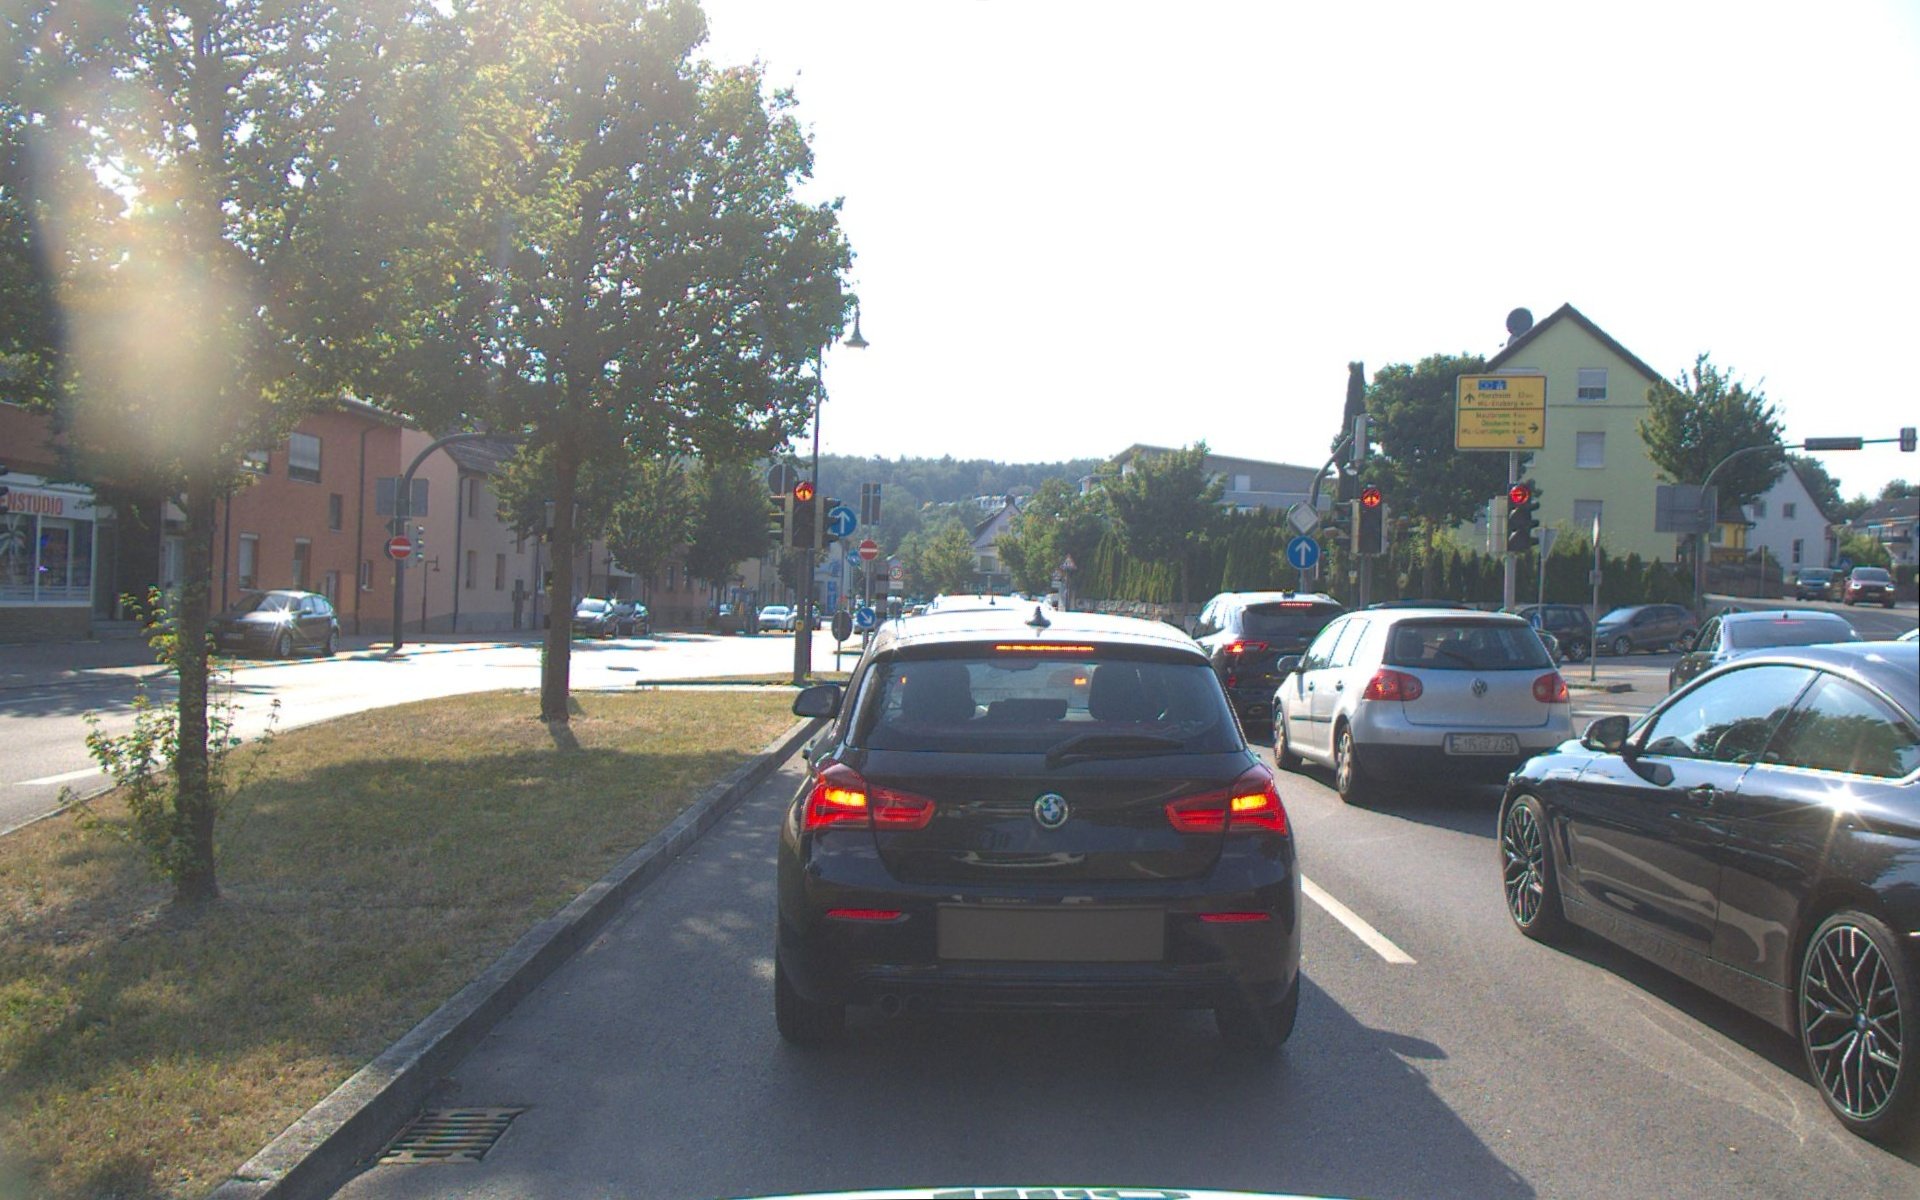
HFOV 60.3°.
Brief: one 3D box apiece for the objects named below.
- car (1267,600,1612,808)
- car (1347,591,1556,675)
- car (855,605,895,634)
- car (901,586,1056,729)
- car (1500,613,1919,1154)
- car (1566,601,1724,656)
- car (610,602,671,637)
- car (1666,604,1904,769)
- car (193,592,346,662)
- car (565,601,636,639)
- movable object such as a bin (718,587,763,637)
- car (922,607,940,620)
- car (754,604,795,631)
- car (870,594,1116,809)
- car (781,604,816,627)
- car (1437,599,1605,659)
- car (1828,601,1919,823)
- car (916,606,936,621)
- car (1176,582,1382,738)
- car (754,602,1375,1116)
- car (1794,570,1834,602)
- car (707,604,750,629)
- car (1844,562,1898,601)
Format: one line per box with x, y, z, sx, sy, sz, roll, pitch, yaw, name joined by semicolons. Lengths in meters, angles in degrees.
3.790;0.742;13.774;1.725;1.451;3.902;-1;0;0;car
10.297;0.676;34.950;4.111;1.709;1.973;0;0;14;car
-4.674;1.041;91.433;1.801;1.508;4.001;1;0;2;car
0.205;0.649;21.023;1.751;1.622;4.280;-1;0;0;car
3.469;0.787;5.818;1.725;1.422;4.280;-1;0;0;car
20.157;0.835;48.759;3.907;1.515;1.847;1;0;-3;car
-14.112;0.838;73.186;1.701;1.323;4.001;5;0;2;car
9.043;0.856;18.460;1.621;1.569;4.401;-1;0;17;car
-15.476;0.572;37.291;1.702;1.323;3.999;5;0;-1;car
-14.504;0.805;66.905;1.701;1.323;4.001;5;0;3;car
-11.216;0.583;84.779;1.701;2.485;4.449;0;0;0;movable object such as a bin
-3.250;1.496;184.096;1.701;1.323;3.800;5;0;2;car
-10.748;1.004;95.796;1.701;1.323;3.800;5;0;2;car
0.235;0.716;13.983;1.751;1.520;4.280;-1;0;0;car
-10.699;1.025;109.752;1.701;1.323;3.800;5;0;2;car
15.164;0.770;44.834;3.907;1.515;1.847;1;0;-3;car
7.619;0.801;11.627;1.583;1.569;3.320;-1;0;6;car
-3.292;1.315;160.581;1.701;1.323;3.800;5;0;2;car
3.743;0.651;20.057;1.725;1.685;3.902;-1;0;0;car
0.294;0.736;6.838;1.751;1.422;4.280;-1;0;0;car
49.485;-0.790;95.833;1.808;1.770;4.774;1;0;30;car
-13.547;0.951;96.930;1.701;1.323;3.800;5;0;2;car
40.443;-0.803;73.501;1.806;1.670;4.427;1;0;26;car
